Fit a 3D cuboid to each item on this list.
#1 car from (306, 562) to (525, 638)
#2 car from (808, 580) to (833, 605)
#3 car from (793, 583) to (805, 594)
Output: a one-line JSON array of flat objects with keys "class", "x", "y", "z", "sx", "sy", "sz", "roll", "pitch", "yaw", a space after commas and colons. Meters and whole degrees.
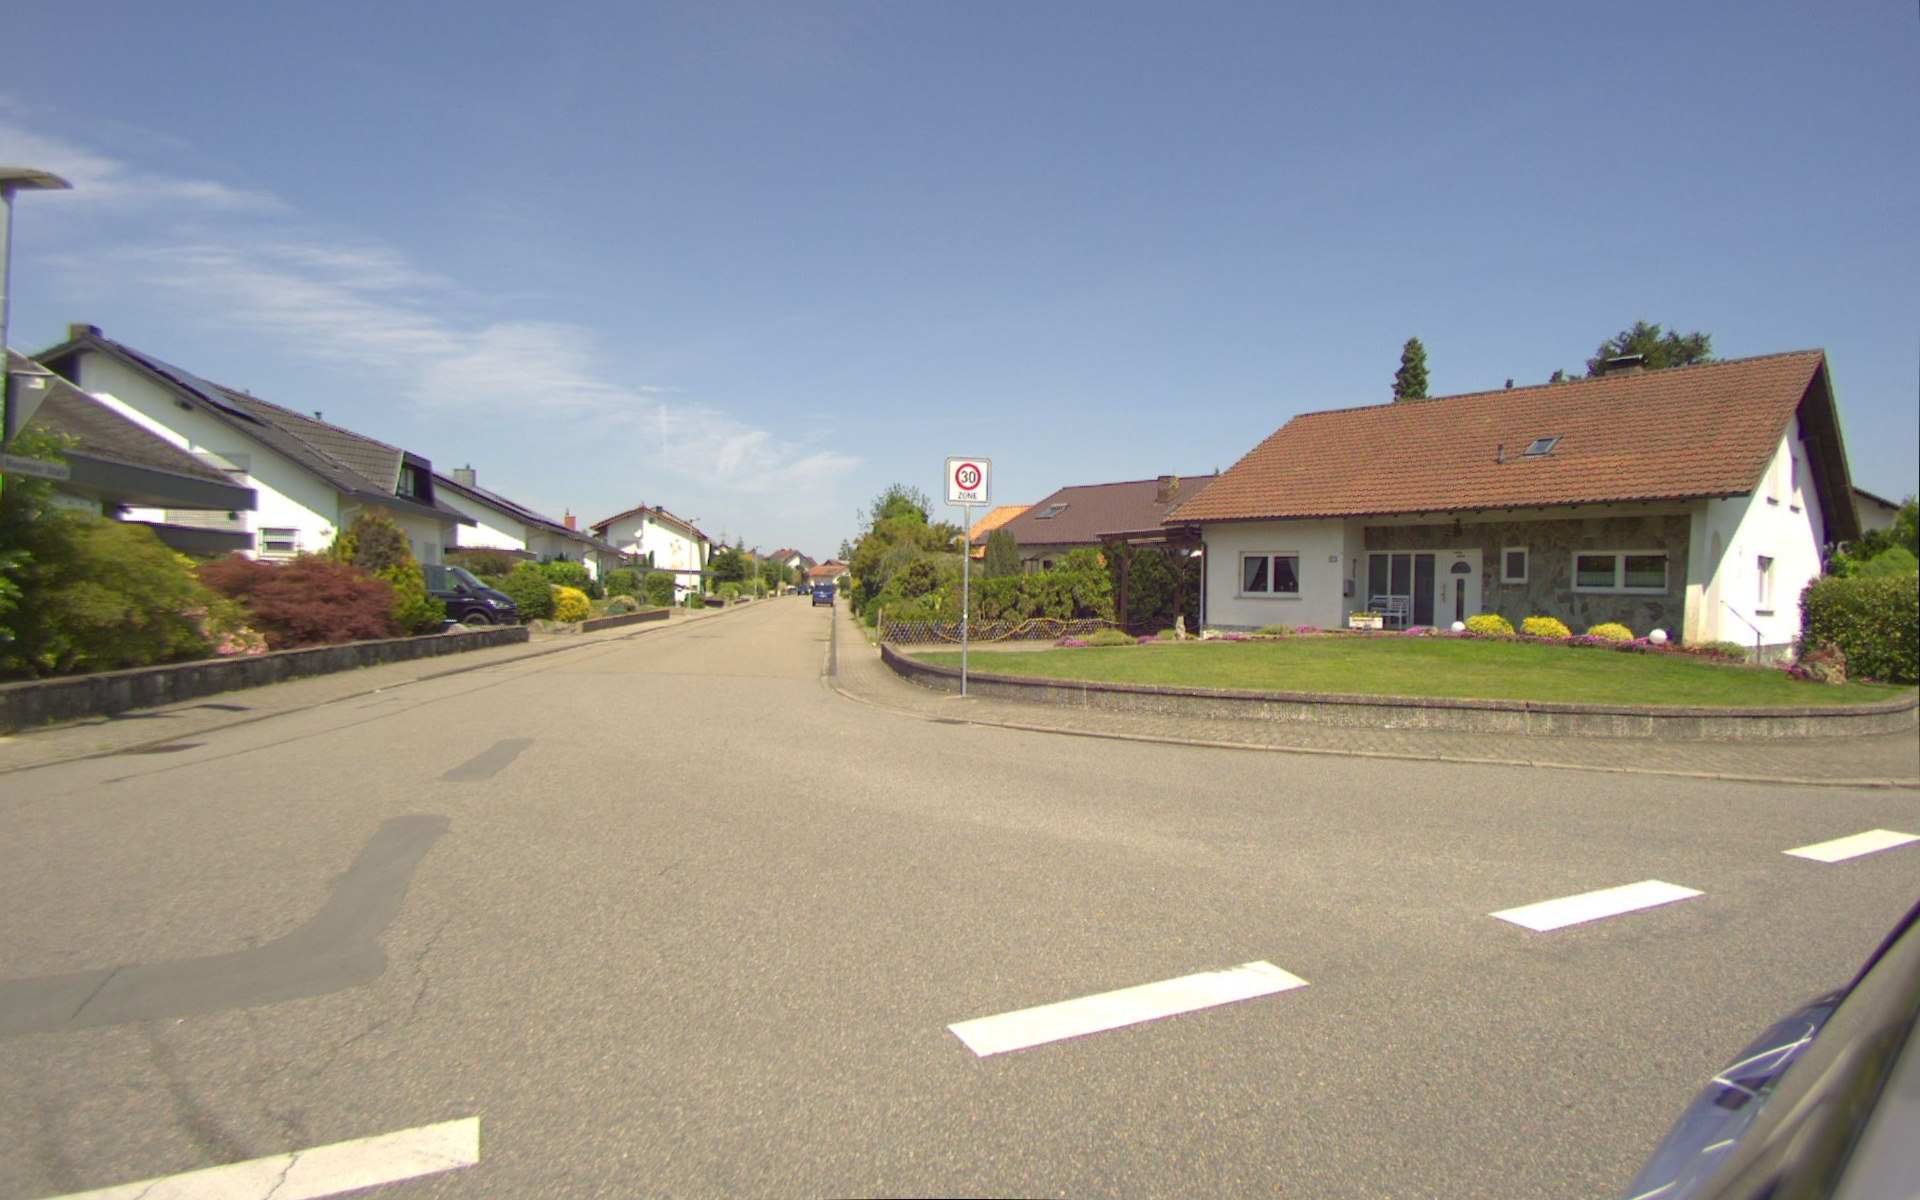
[{"class": "car", "x": -14.541, "y": 0.005, "z": 27.337, "sx": 4.862, "sy": 1.939, "sz": 1.932, "roll": 1, "pitch": 1, "yaw": -14}, {"class": "car", "x": -11.066, "y": -0.593, "z": 80.372, "sx": 1.791, "sy": 1.905, "sz": 4.005, "roll": 1, "pitch": 1, "yaw": -6}, {"class": "car", "x": -27.468, "y": -1.979, "z": 172.676, "sx": 1.837, "sy": 1.950, "sz": 4.008, "roll": 1, "pitch": 1, "yaw": -11}]
